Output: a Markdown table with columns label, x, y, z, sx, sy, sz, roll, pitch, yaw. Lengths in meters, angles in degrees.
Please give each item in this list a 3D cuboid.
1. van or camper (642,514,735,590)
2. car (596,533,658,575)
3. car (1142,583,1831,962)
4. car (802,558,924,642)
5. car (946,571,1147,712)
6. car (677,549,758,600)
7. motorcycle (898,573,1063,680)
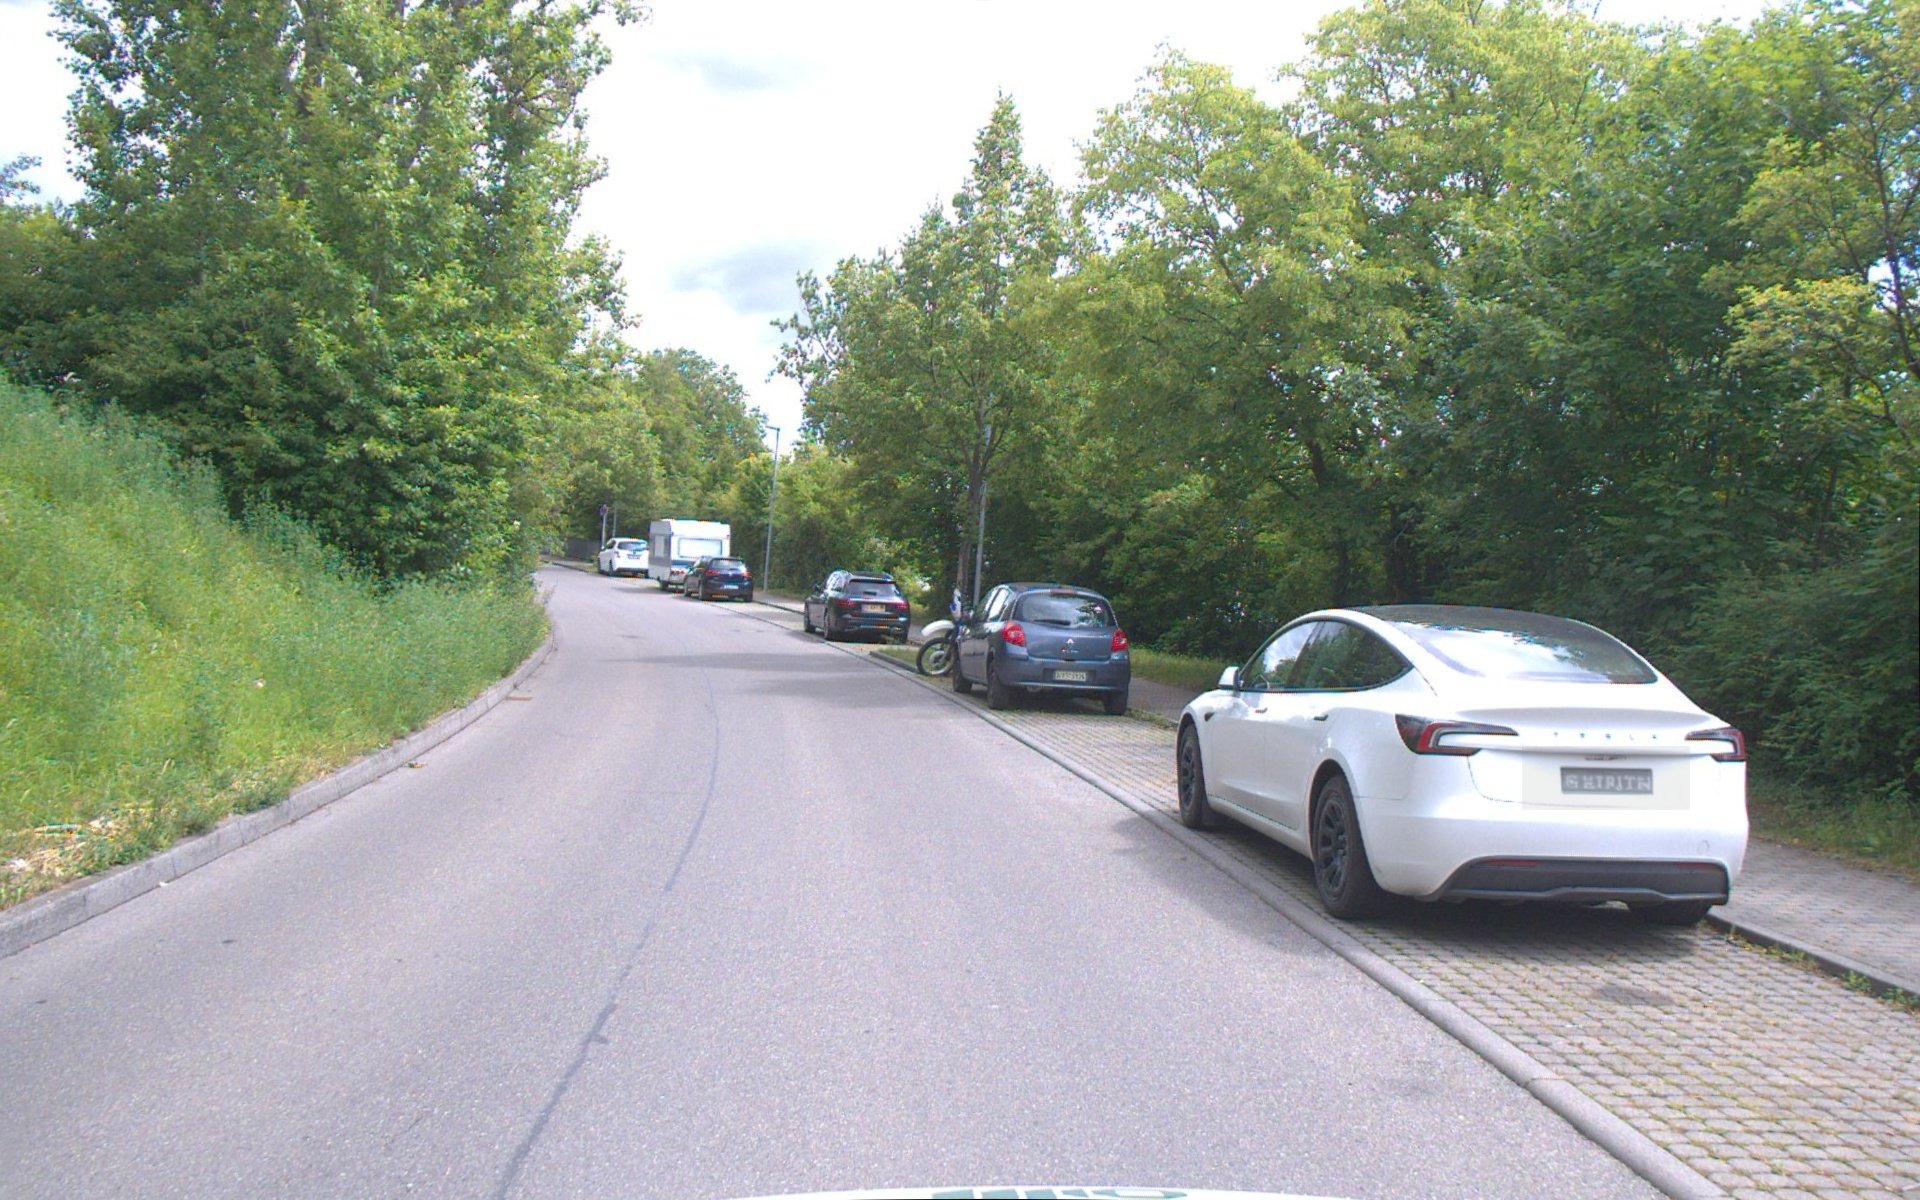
| label | x | y | z | sx | sy | sz | roll | pitch | yaw |
| --- | --- | --- | --- | --- | --- | --- | --- | --- | --- |
| van or camper | -9.950 | -1.794 | 60.371 | 2.321 | 2.597 | 5.044 | 2 | 2 | -21 |
| car | -14.563 | -2.036 | 72.146 | 1.780 | 1.627 | 4.343 | 2 | 3 | -23 |
| car | 2.475 | 0.700 | 9.297 | 1.827 | 1.503 | 4.895 | 1 | 1 | -7 |
| car | -2.215 | -0.048 | 36.409 | 1.861 | 1.556 | 4.532 | 3 | 2 | -13 |
| car | 0.981 | 0.457 | 20.959 | 1.736 | 1.544 | 4.100 | 2 | 0 | -8 |
| car | -8.101 | -0.887 | 54.945 | 1.658 | 1.476 | 4.453 | 3 | 2 | -21 |
| motorcycle | 0.312 | 0.372 | 24.644 | 2.256 | 1.501 | 0.976 | 1 | 1 | 15 |
